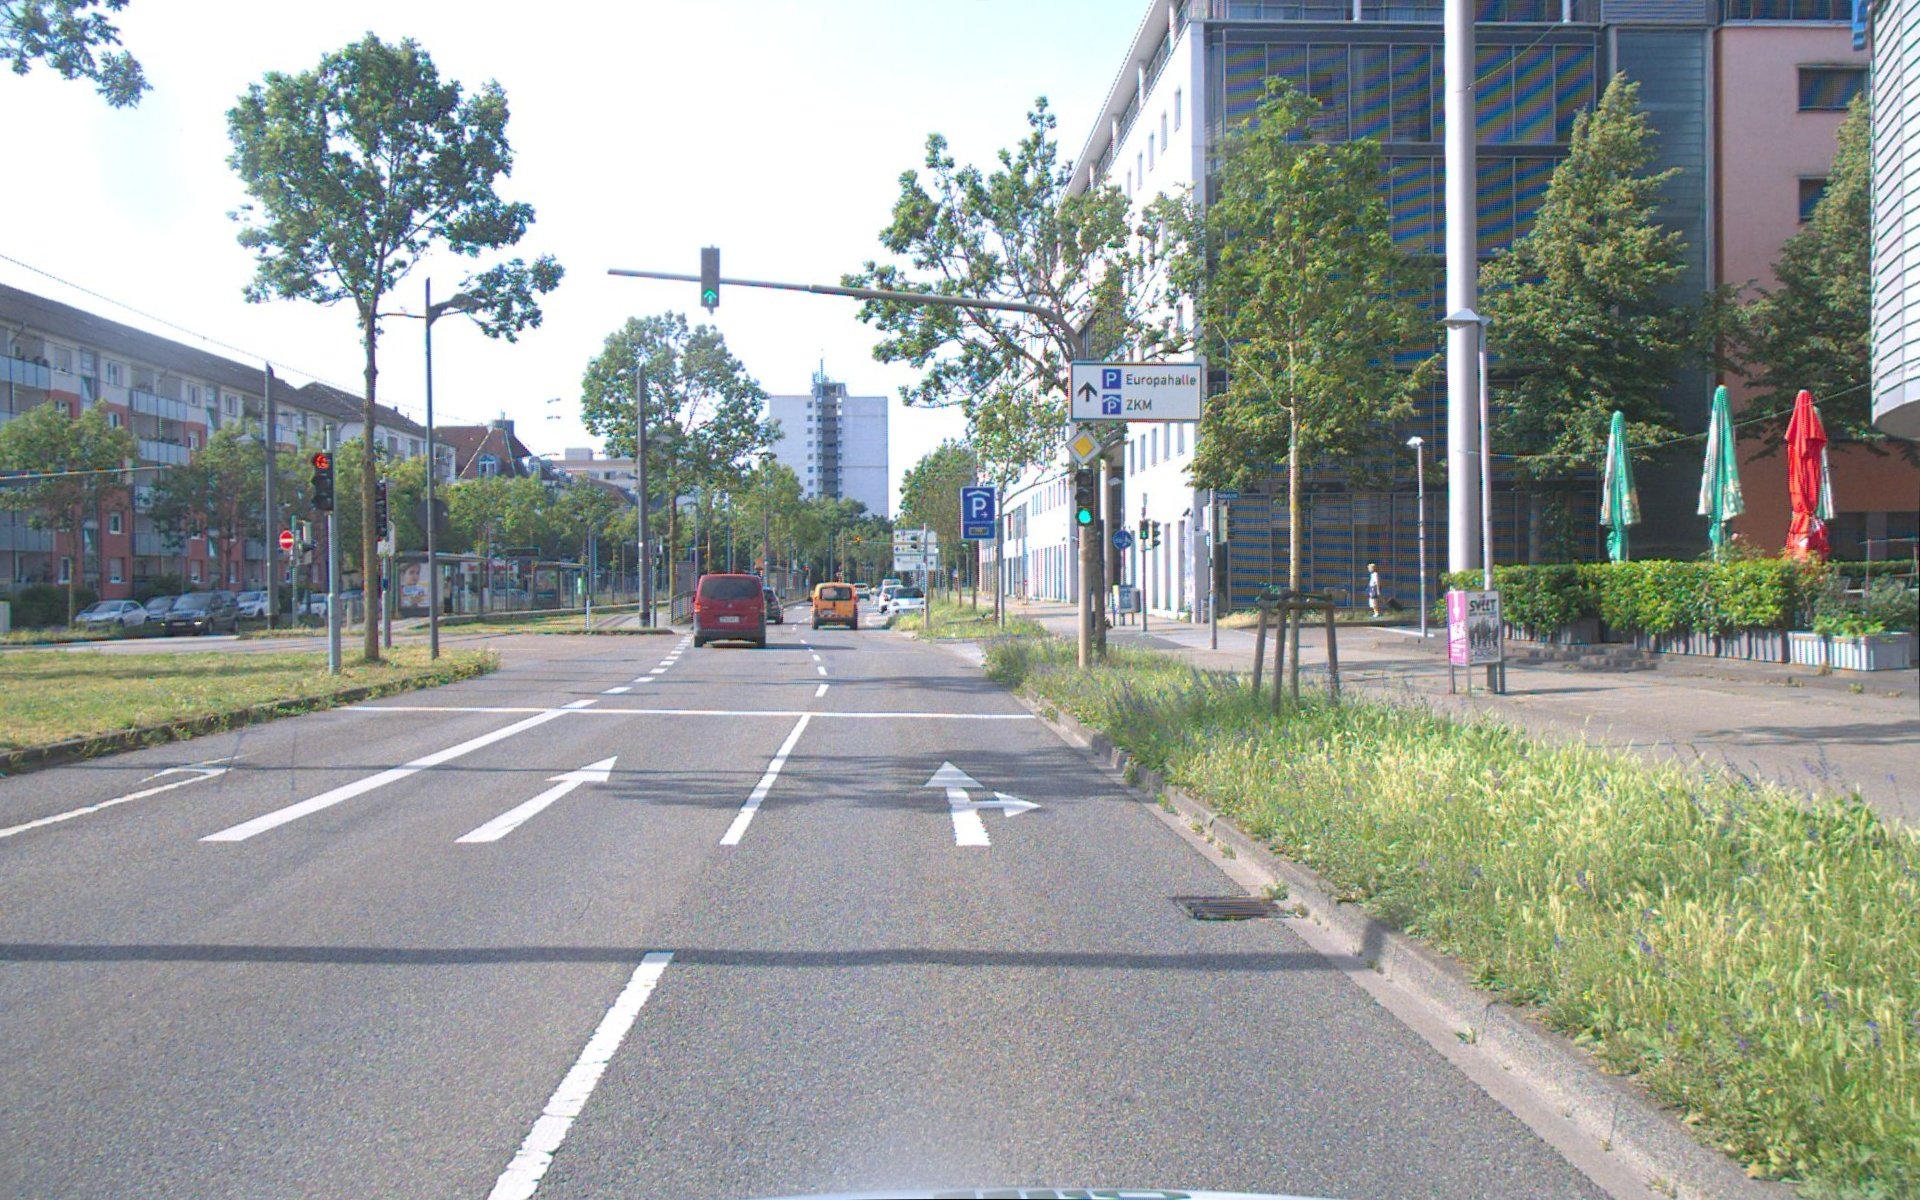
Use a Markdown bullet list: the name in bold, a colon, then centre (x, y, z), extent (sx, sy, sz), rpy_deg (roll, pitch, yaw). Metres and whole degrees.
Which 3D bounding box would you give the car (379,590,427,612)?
- **car**: centre (-36.319, 0.066, 107.985), extent (1.941, 1.384, 4.066), rpy_deg (1, 0, -3)

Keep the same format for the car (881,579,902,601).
- **car**: centre (-6.571, -0.943, 157.696), extent (1.954, 2.049, 3.998), rpy_deg (1, 0, -3)

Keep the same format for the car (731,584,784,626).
- **car**: centre (-8.619, 0.183, 70.582), extent (1.954, 1.735, 3.998), rpy_deg (0, 0, -3)

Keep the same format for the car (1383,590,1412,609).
- **car**: centre (13.643, -0.012, 51.597), extent (0.750, 0.598, 0.498), rpy_deg (0, 0, -4)

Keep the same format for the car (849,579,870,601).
- **car**: centre (-9.500, -0.907, 156.342), extent (1.954, 2.049, 3.997), rpy_deg (0, 0, -4)

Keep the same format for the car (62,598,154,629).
- **car**: centre (-34.769, 0.532, 67.589), extent (1.797, 1.168, 4.162), rpy_deg (1, 0, -3)

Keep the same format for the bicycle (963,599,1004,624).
- **bicycle**: centre (0.757, 0.378, 53.716), extent (1.245, 0.643, 0.521), rpy_deg (-7, 0, 4)

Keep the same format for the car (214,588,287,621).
- **car**: centre (-35.730, 0.226, 83.419), extent (1.941, 1.583, 4.534), rpy_deg (1, 0, -3)

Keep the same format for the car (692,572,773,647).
- **car**: centre (-5.941, 0.219, 43.597), extent (1.837, 1.885, 3.997), rpy_deg (0, 1, -4)

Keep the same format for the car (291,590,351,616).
- **car**: centre (-36.002, 0.161, 93.297), extent (1.941, 1.384, 4.066), rpy_deg (1, 0, -3)

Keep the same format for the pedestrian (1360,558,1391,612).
- **pedestrian**: centre (12.899, -0.461, 51.358), extent (0.762, 1.644, 0.713), rpy_deg (0, 0, -4)

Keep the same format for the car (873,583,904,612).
- **car**: centre (-4.063, -0.168, 93.853), extent (1.655, 1.552, 3.849), rpy_deg (-3, 1, -2)

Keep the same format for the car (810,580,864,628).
- **car**: centre (-4.573, 0.117, 61.985), extent (1.838, 1.726, 3.972), rpy_deg (0, 1, -2)

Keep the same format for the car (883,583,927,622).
- **car**: centre (-2.277, 0.069, 67.844), extent (1.686, 1.545, 3.778), rpy_deg (0, 0, -4)

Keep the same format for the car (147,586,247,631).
- **car**: centre (-30.483, 0.313, 66.228), extent (1.953, 1.735, 4.711), rpy_deg (0, 0, -2)

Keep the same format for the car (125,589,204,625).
- **car**: centre (-35.259, 0.294, 73.421), extent (1.797, 1.496, 3.824), rpy_deg (1, 0, -3)

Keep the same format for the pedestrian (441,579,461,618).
- **pedestrian**: centre (-22.287, -0.075, 72.404), extent (0.659, 1.682, 0.793), rpy_deg (-1, 0, -7)
